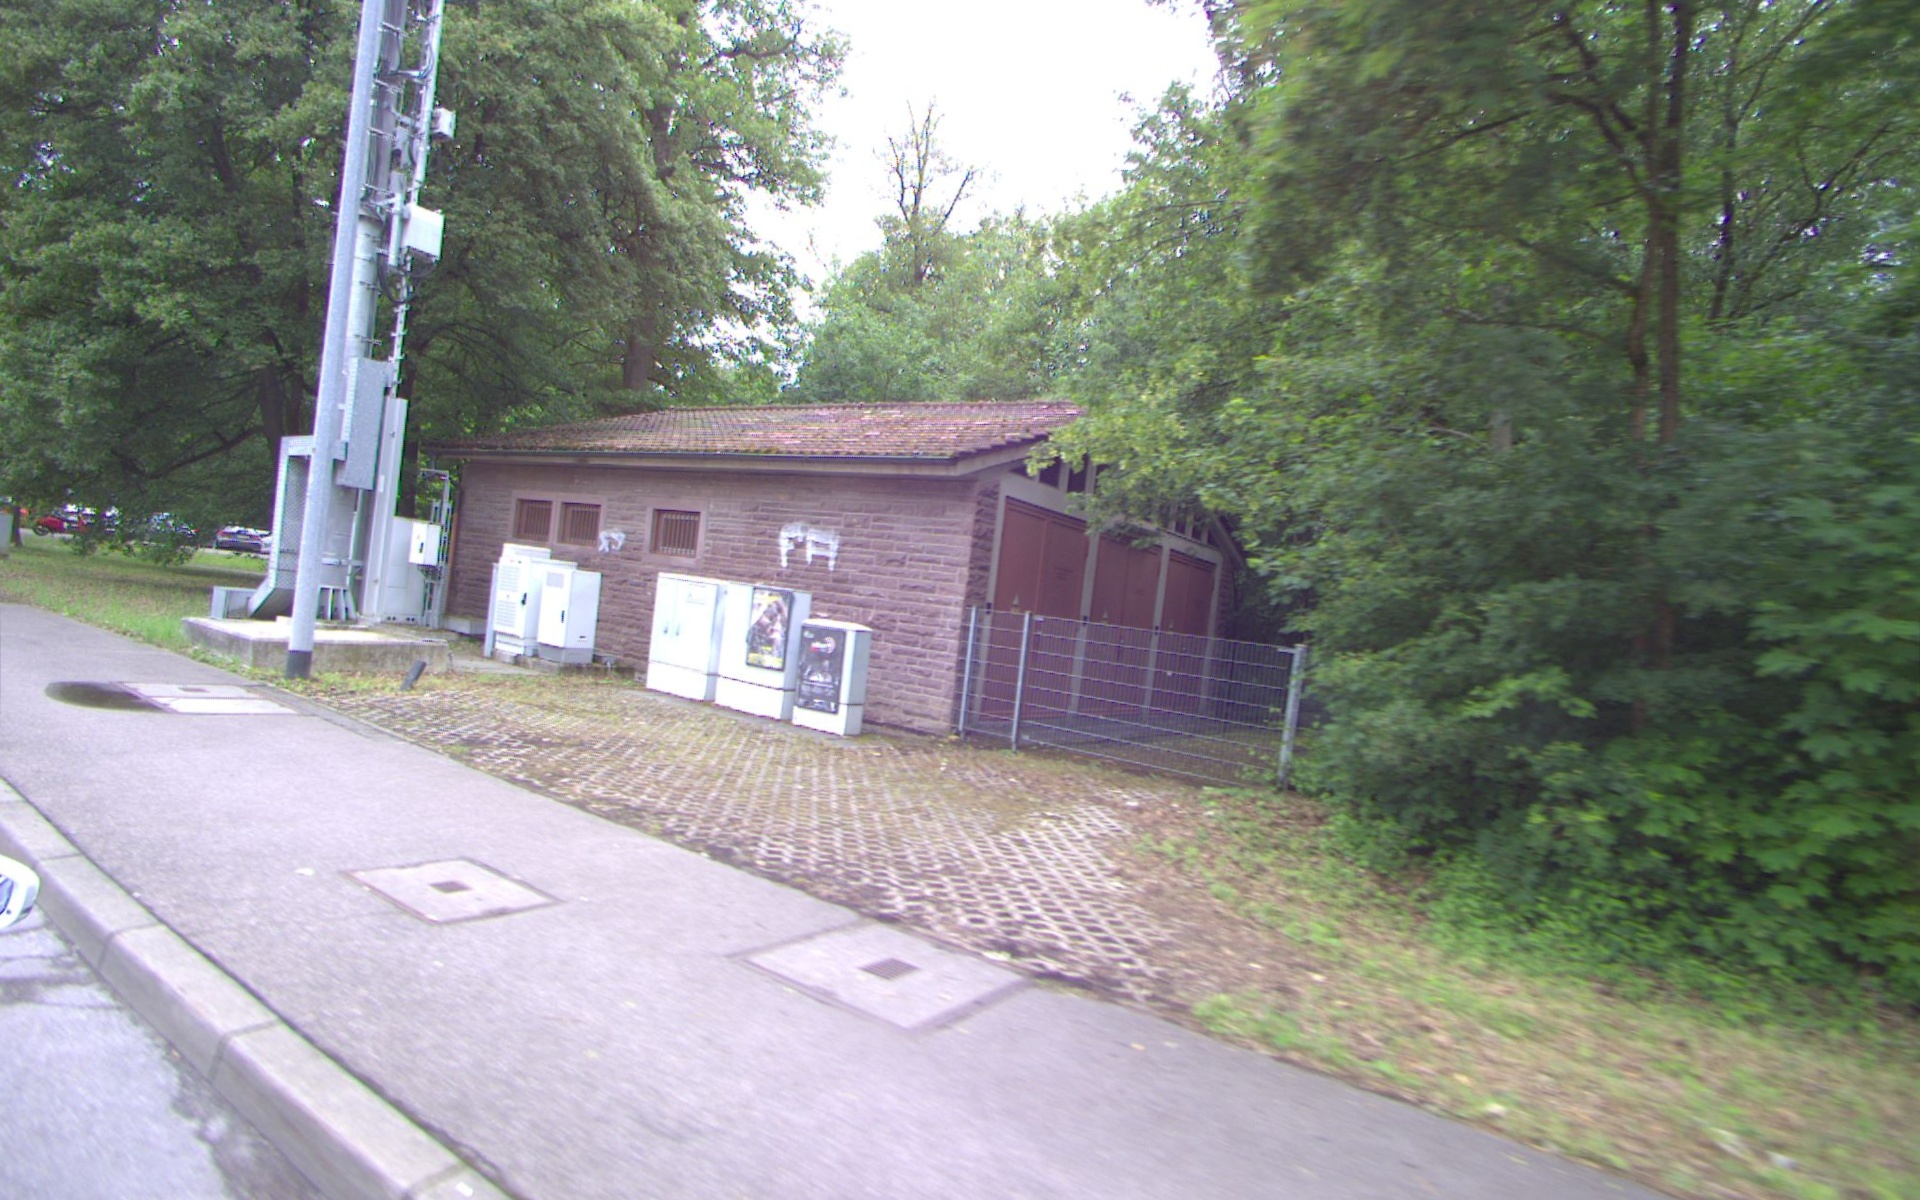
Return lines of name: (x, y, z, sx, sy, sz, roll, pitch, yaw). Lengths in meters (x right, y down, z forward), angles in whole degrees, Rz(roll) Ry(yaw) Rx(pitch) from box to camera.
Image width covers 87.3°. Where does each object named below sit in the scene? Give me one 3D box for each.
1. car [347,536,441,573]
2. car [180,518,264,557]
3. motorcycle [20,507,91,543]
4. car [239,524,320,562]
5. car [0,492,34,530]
car: (-28.352, -2.250, 50.483, 1.534, 1.342, 3.820, 7, 0, 29)
car: (-33.429, -2.837, 45.562, 3.760, 1.342, 1.559, 7, 0, 29)
motorcycle: (-33.305, -2.754, 37.064, 0.607, 1.070, 1.823, 7, 0, 43)
car: (-31.998, -2.674, 47.298, 3.760, 1.342, 1.559, 7, 0, 29)
car: (-37.982, -3.602, 39.716, 1.827, 1.342, 3.955, 7, 0, -40)
